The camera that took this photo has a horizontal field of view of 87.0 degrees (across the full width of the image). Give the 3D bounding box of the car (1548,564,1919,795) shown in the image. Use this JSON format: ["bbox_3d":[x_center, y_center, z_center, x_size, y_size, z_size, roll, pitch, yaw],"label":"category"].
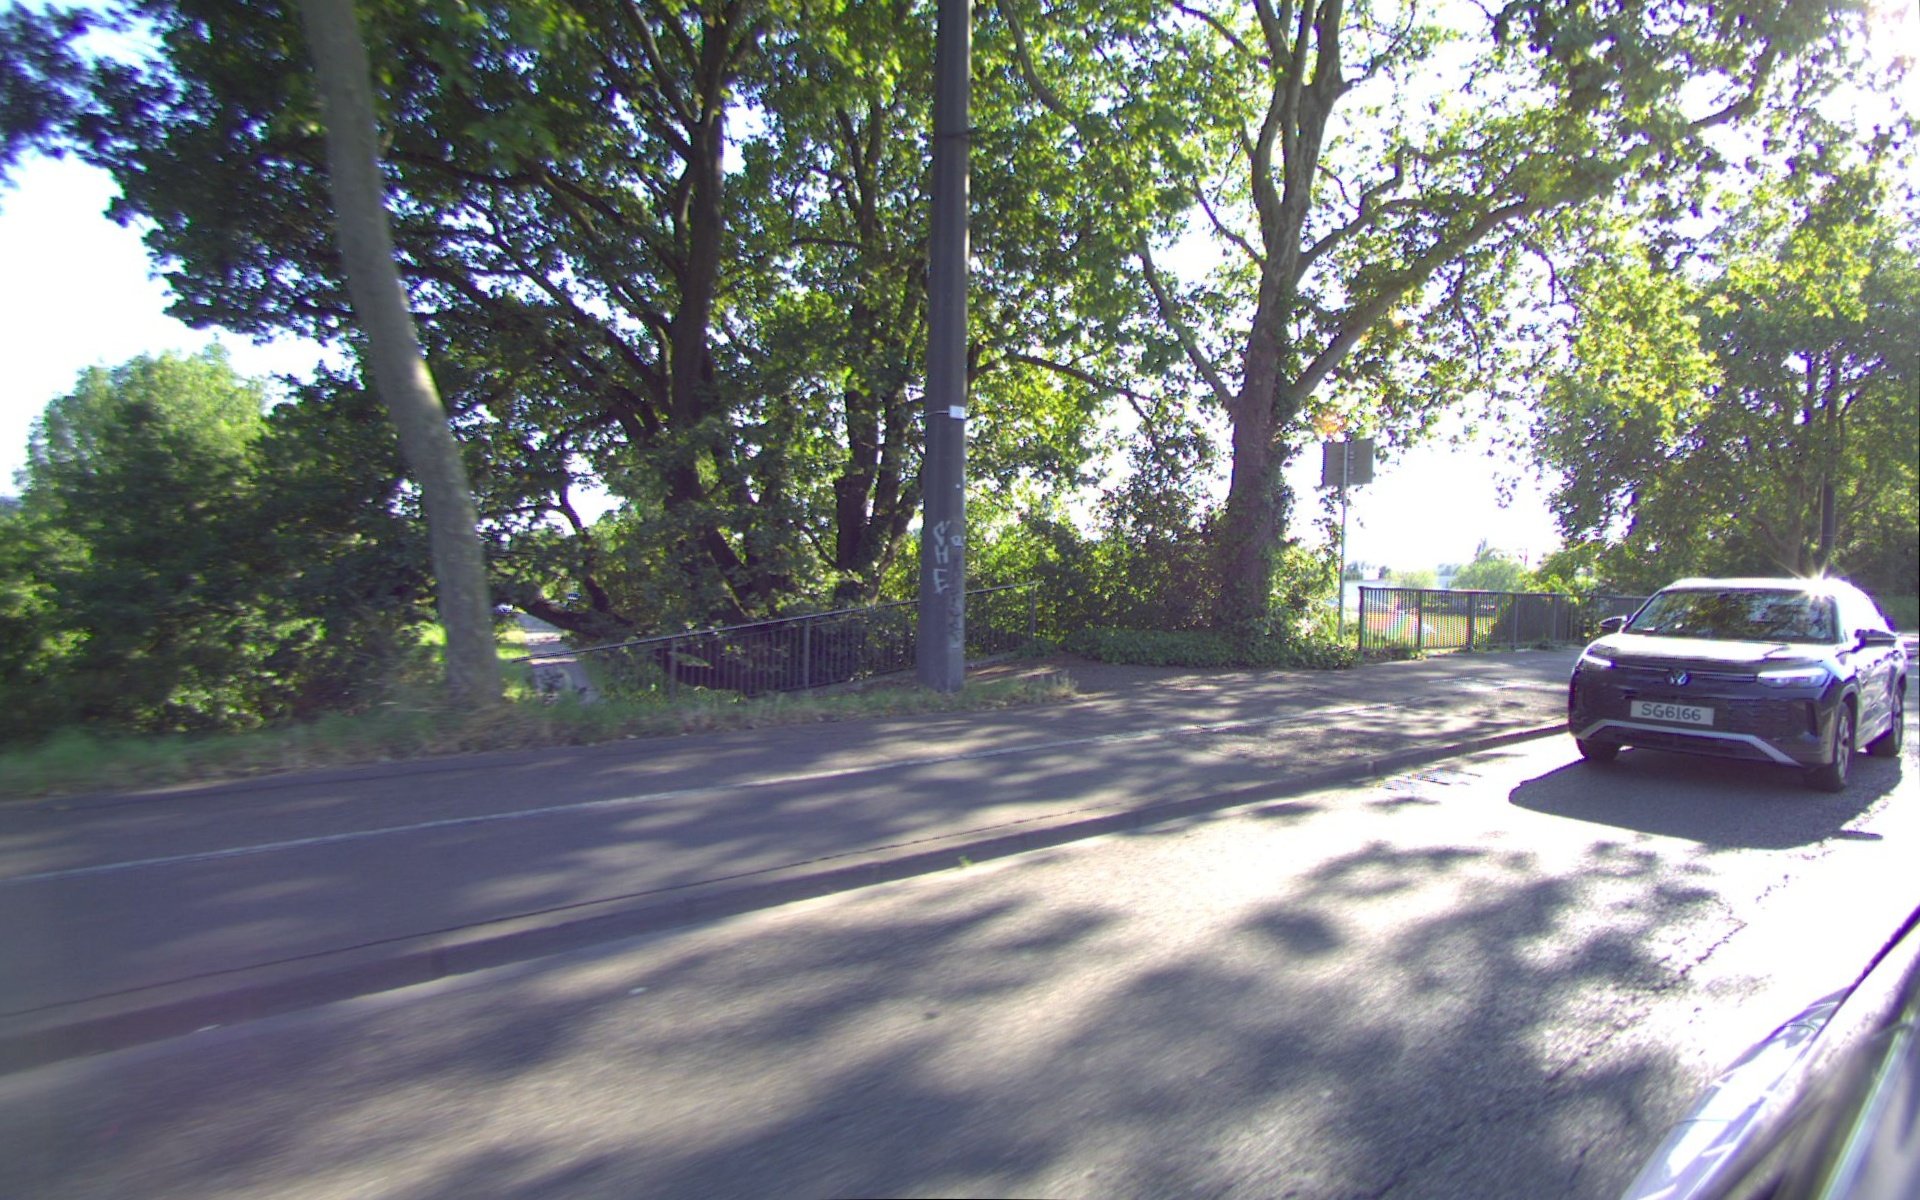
[{"bbox_3d":[7.233,0.512,9.217,4.338,1.620,1.880,-1,2,-40],"label":"car"}]
